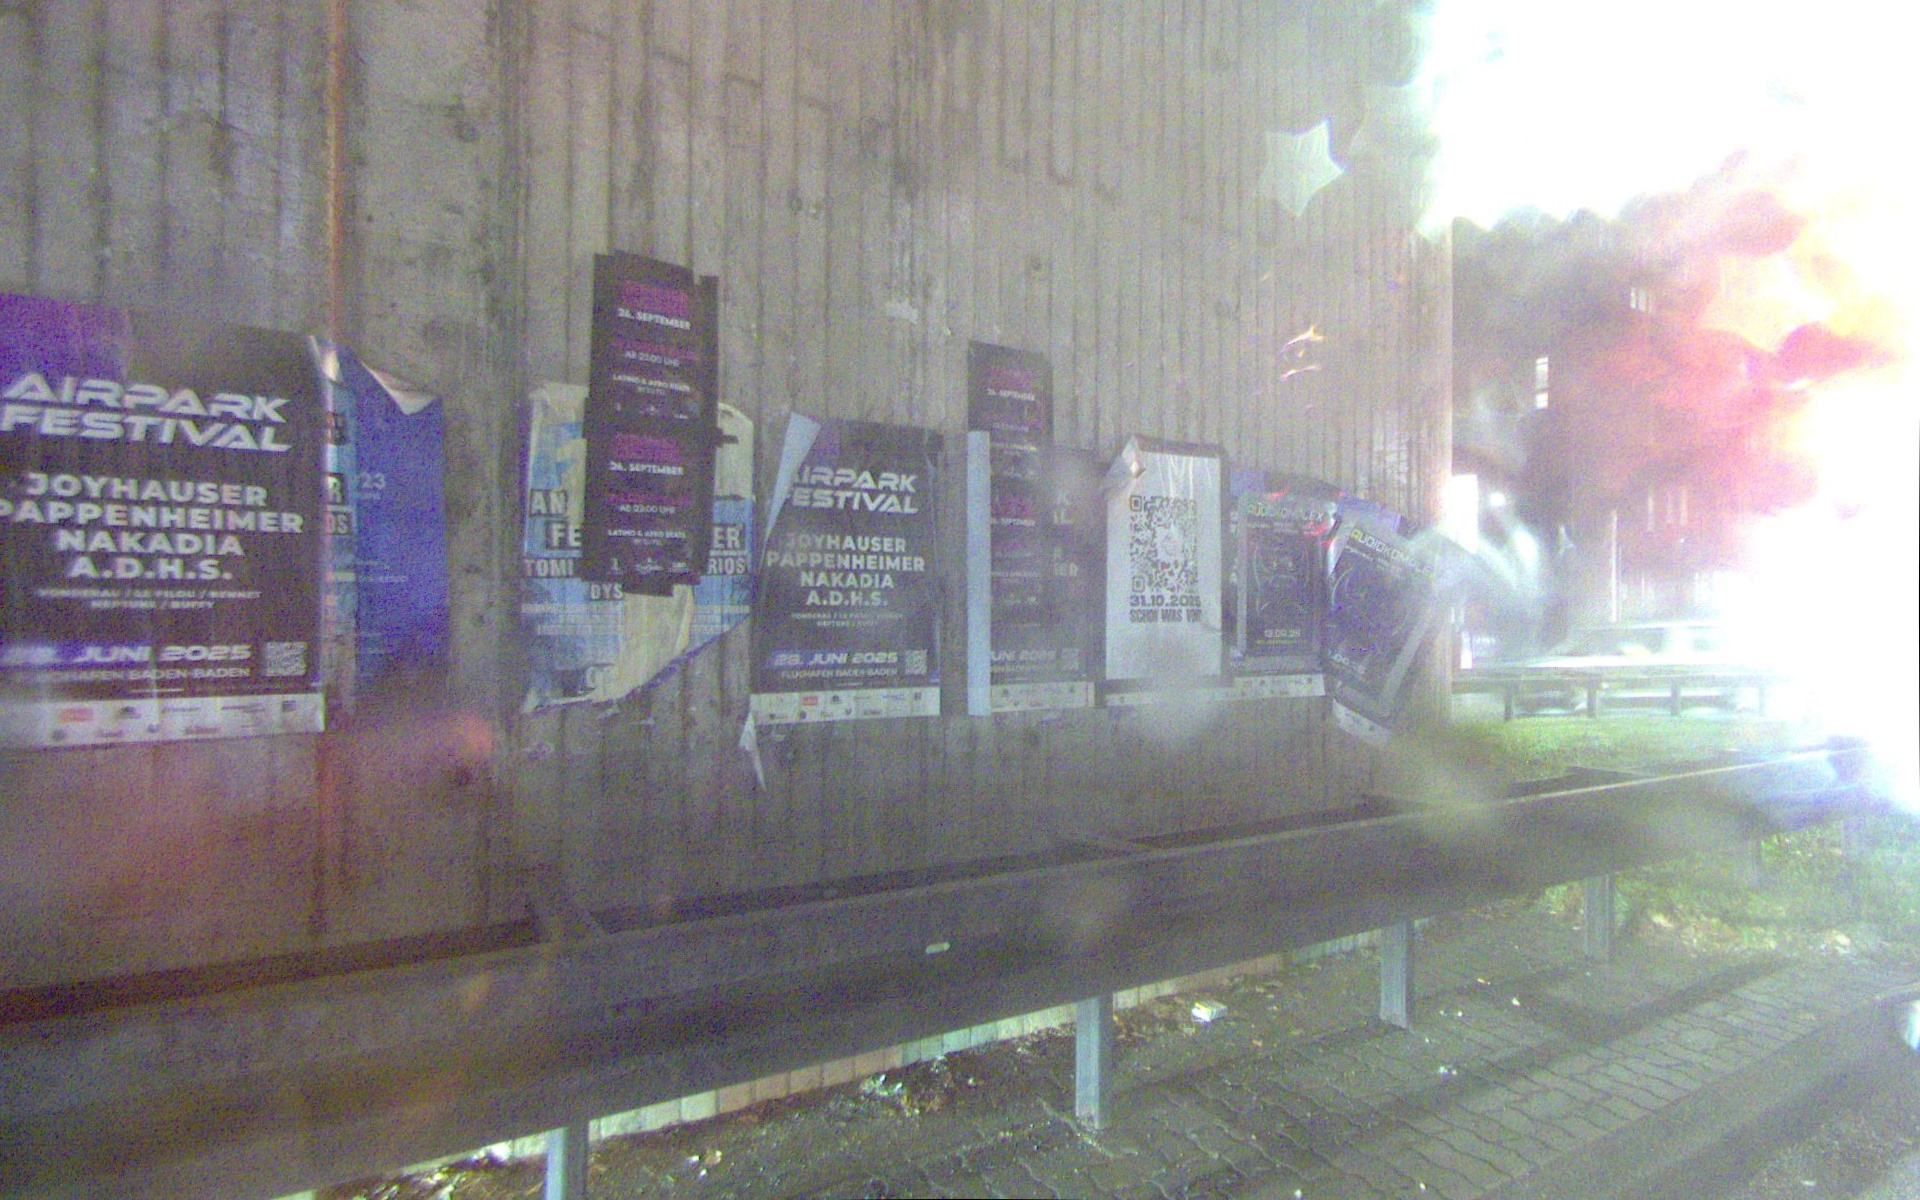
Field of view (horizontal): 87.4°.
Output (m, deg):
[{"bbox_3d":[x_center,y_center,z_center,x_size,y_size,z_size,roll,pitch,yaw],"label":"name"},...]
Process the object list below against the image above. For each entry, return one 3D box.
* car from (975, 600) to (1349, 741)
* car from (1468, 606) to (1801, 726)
[{"bbox_3d":[2.824,0.959,14.253,4.839,1.764,1.964,2,0,-17],"label":"car"},{"bbox_3d":[11.220,1.058,16.927,4.311,1.764,1.910,2,0,-1],"label":"car"}]
